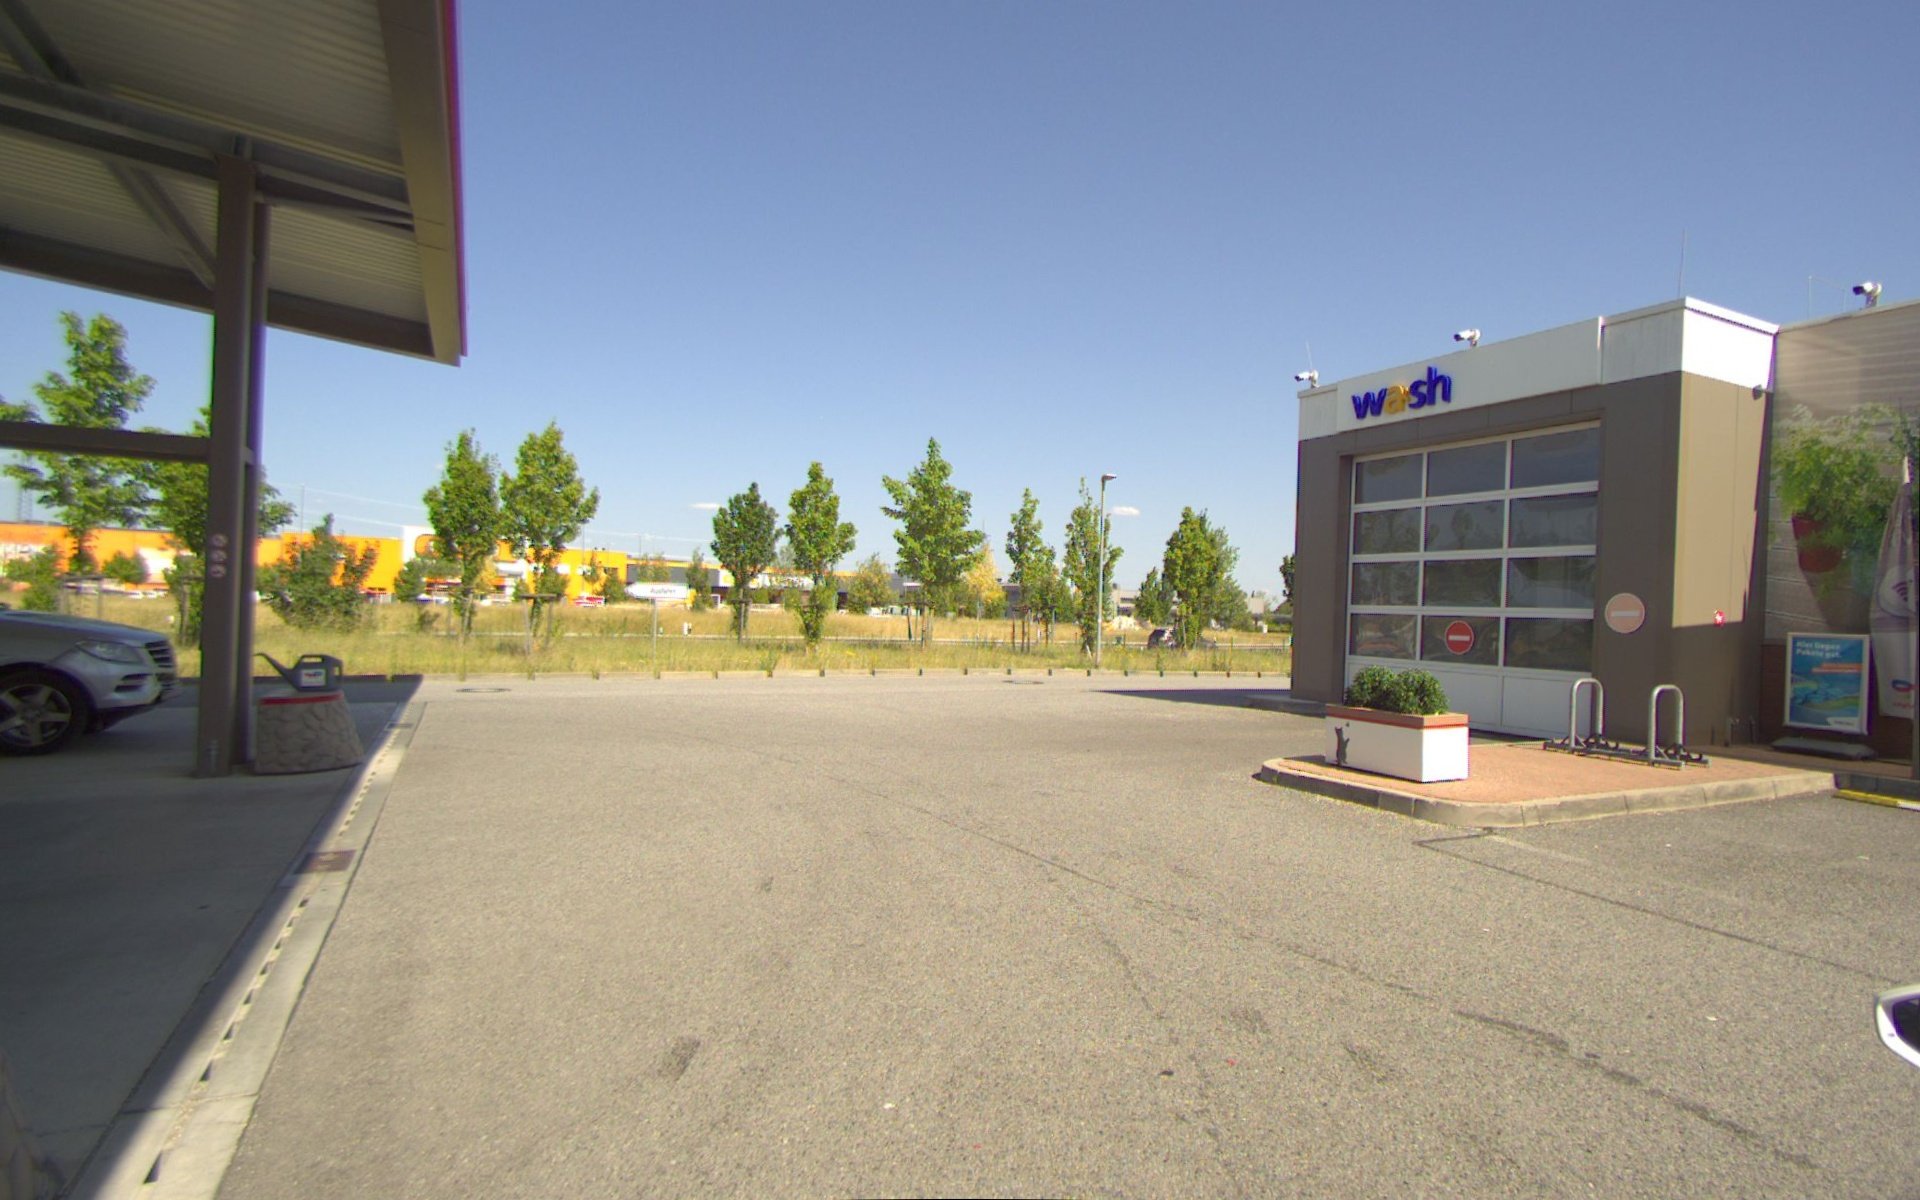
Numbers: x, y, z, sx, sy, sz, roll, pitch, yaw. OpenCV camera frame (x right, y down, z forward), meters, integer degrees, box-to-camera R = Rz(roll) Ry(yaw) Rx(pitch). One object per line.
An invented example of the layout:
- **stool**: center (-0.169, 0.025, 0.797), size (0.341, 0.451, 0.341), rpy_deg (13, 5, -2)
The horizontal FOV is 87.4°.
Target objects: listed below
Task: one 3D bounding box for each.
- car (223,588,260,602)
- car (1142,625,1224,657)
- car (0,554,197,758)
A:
- **car**: center (-74.775, -0.500, 104.590), size (2.905, 1.316, 1.477), rpy_deg (2, -1, -25)
- **car**: center (12.917, 2.390, 58.130), size (4.522, 1.774, 1.778), rpy_deg (2, 0, -27)
- **car**: center (-9.519, 0.435, 8.625), size (4.483, 1.710, 1.850), rpy_deg (2, 0, -31)
